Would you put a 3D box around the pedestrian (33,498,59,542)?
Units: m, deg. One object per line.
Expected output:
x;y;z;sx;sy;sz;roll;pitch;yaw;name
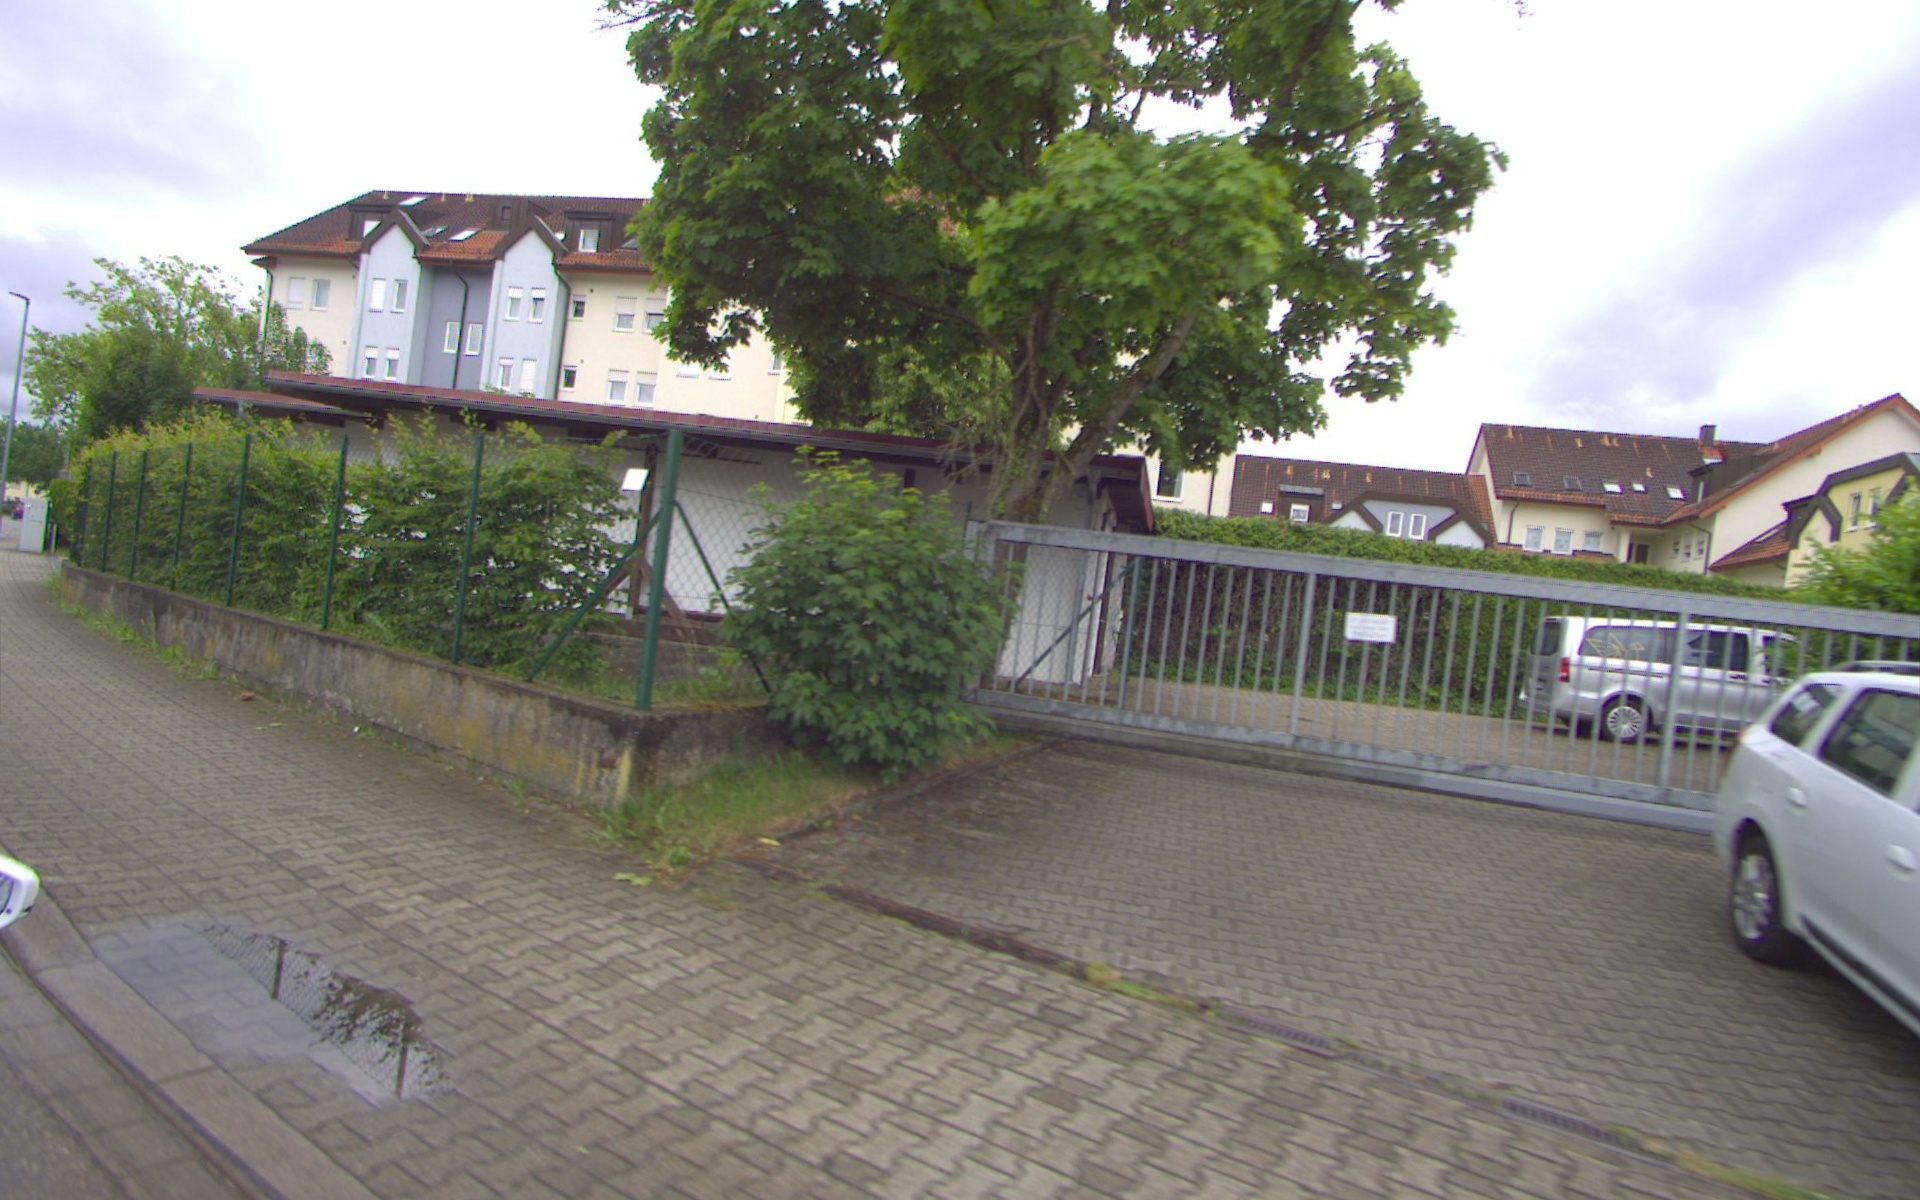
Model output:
-37.637;-3.284;41.437;0.566;1.691;0.717;6;-1;-33;pedestrian

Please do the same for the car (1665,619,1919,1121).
4.290;1.038;3.524;1.733;1.619;4.348;7;3;20;car

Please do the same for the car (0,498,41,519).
-80.970;-7.887;86.625;3.941;1.473;2.005;4;-3;37;car

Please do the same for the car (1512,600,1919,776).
11.646;1.276;15.650;4.840;2.039;2.000;6;0;13;car
